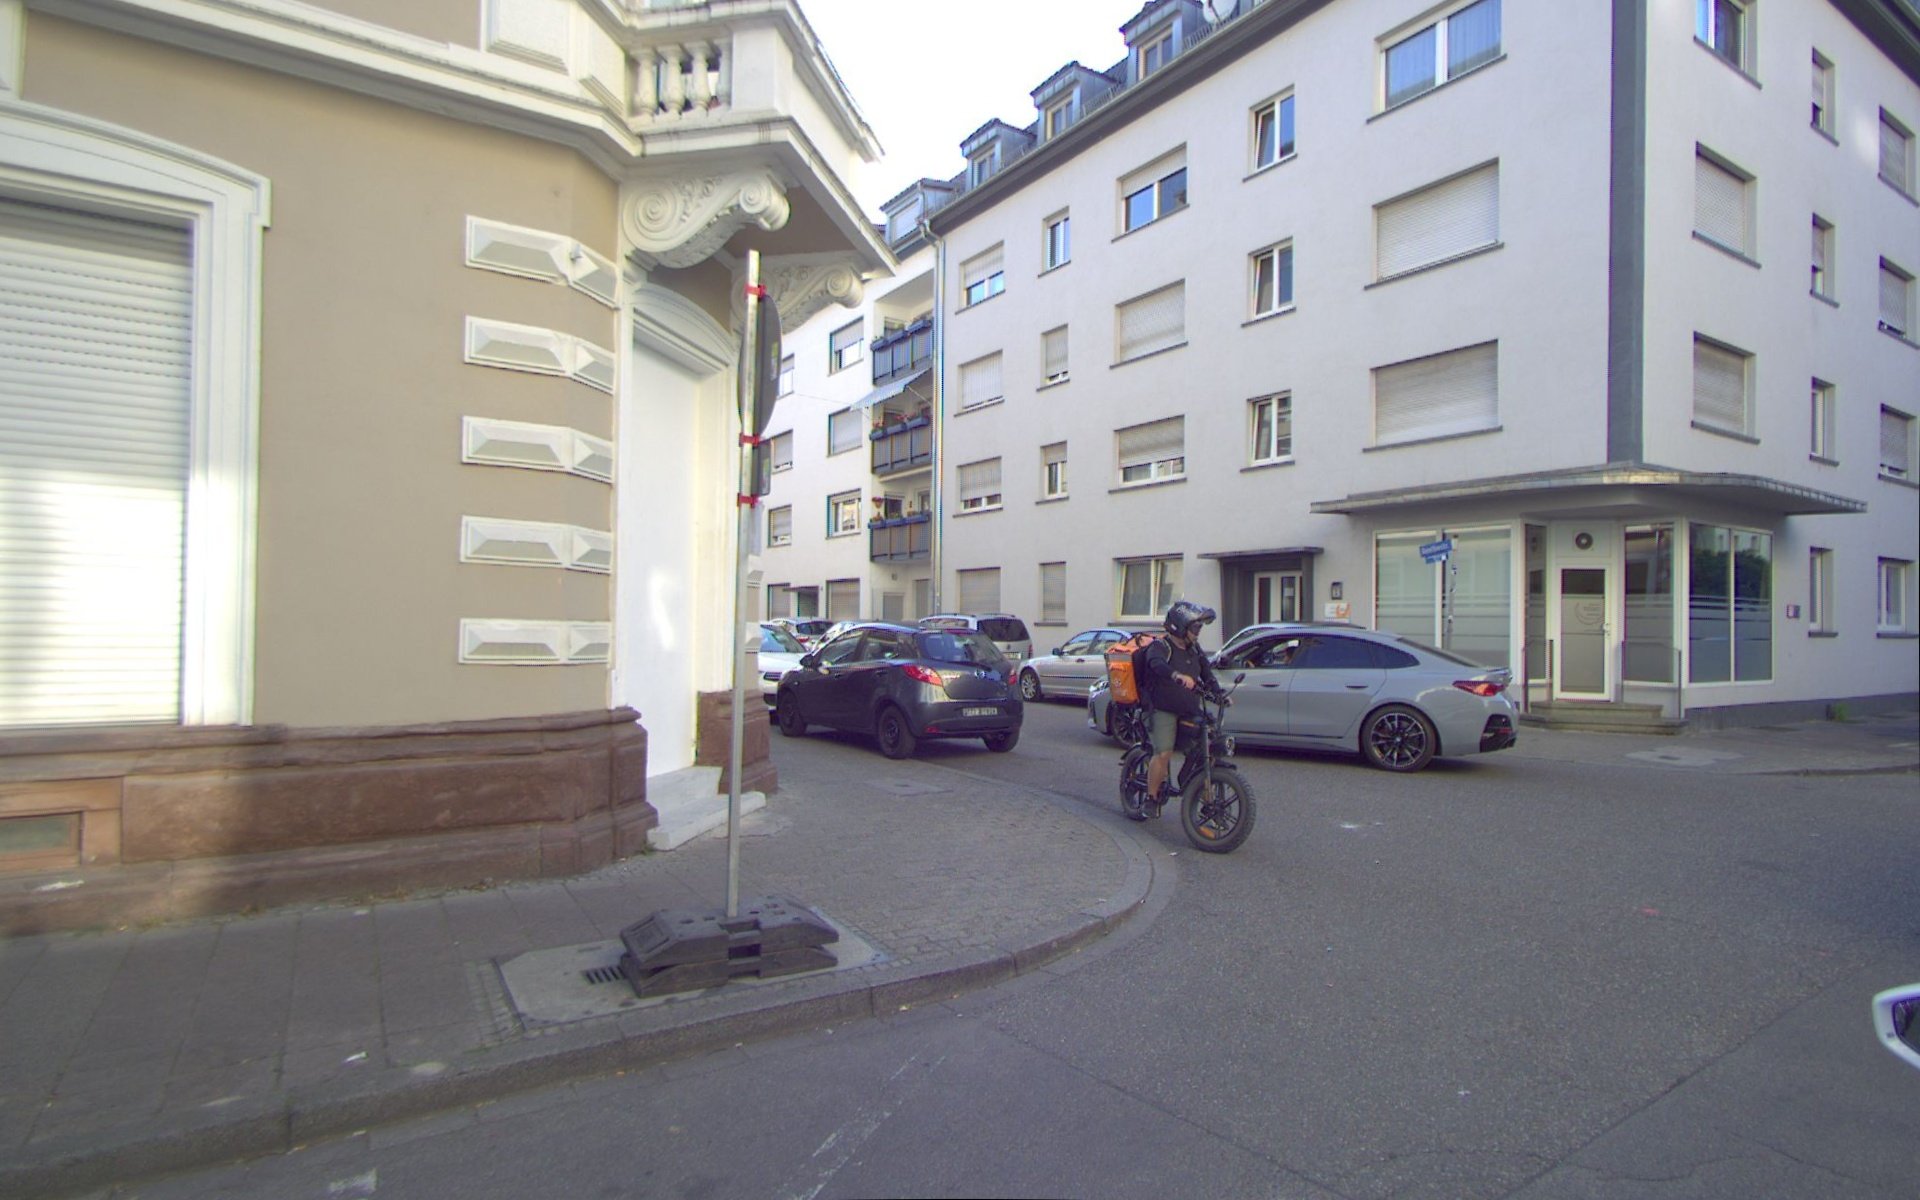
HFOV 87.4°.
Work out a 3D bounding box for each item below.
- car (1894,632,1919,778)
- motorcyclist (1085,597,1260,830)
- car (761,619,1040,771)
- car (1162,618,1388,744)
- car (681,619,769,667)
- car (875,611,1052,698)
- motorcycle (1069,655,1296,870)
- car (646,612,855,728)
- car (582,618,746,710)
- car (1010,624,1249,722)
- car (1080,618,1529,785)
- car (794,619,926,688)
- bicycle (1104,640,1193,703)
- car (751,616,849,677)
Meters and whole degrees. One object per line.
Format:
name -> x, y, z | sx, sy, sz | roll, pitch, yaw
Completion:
car -> 11.999, 1.127, 10.662 | 3.952, 1.506, 1.984 | 1, -1, -30
motorcyclist -> 1.571, 0.779, 7.533 | 0.862, 1.589, 0.993 | 0, 1, -25
car -> -0.842, 1.011, 12.130 | 1.672, 1.499, 3.551 | 2, -1, -37
car -> 4.487, 1.086, 14.575 | 1.630, 1.586, 2.740 | 1, -1, -32
car -> -8.100, 1.440, 34.421 | 1.574, 1.507, 3.944 | 1, -1, -35
car -> -0.020, 1.115, 22.060 | 1.979, 1.675, 4.055 | 1, -1, -34
motorcycle -> 1.586, 1.107, 7.472 | 0.796, 1.266, 1.688 | 0, 1, -24
car -> -3.468, 1.007, 16.056 | 1.817, 1.581, 4.053 | 1, -1, -35
car -> -5.968, 1.185, 19.942 | 1.989, 1.581, 4.054 | 1, -1, -34
car -> 2.927, 1.219, 18.209 | 1.947, 1.472, 4.226 | 1, -1, -32
car -> 3.897, 1.007, 11.561 | 4.581, 1.506, 1.996 | 0, -1, 31
car -> -2.667, 1.320, 25.935 | 1.611, 1.581, 4.053 | 1, -1, -35
bicycle -> 3.867, 1.453, 20.741 | 0.484, 1.152, 2.038 | 2, 0, -34
car -> -4.812, 1.340, 29.837 | 1.640, 1.666, 3.577 | 1, -1, -31
